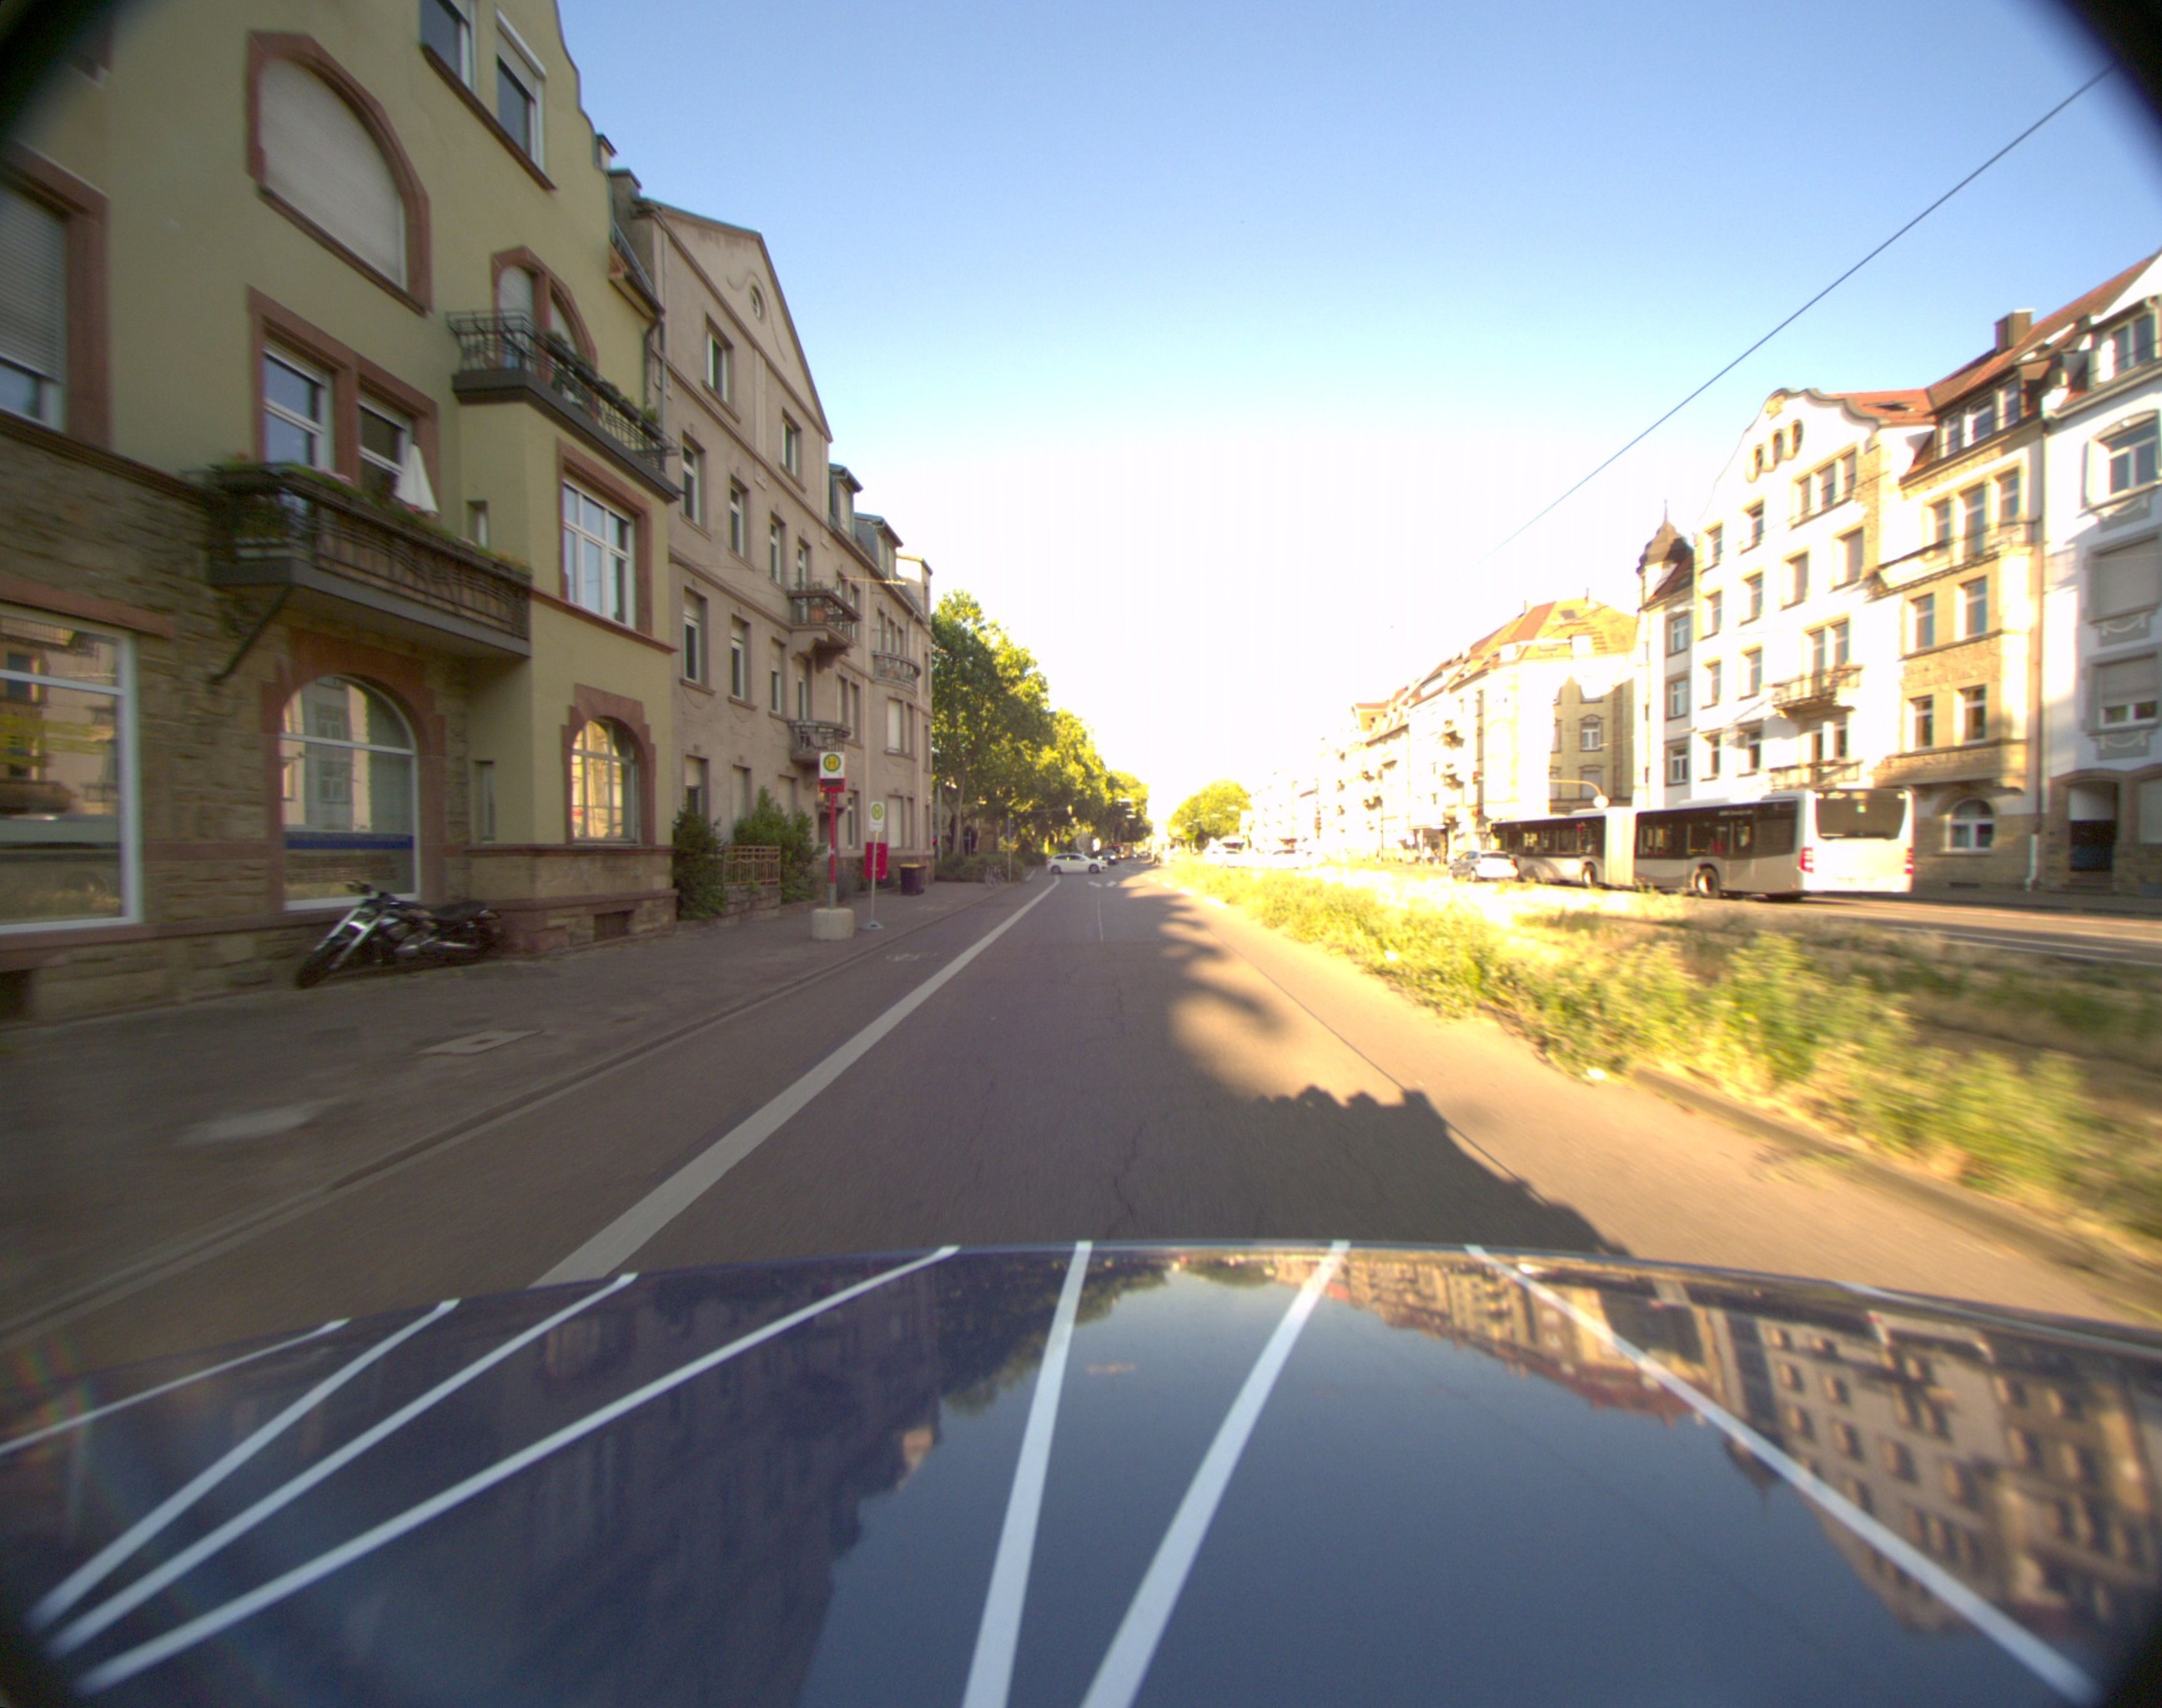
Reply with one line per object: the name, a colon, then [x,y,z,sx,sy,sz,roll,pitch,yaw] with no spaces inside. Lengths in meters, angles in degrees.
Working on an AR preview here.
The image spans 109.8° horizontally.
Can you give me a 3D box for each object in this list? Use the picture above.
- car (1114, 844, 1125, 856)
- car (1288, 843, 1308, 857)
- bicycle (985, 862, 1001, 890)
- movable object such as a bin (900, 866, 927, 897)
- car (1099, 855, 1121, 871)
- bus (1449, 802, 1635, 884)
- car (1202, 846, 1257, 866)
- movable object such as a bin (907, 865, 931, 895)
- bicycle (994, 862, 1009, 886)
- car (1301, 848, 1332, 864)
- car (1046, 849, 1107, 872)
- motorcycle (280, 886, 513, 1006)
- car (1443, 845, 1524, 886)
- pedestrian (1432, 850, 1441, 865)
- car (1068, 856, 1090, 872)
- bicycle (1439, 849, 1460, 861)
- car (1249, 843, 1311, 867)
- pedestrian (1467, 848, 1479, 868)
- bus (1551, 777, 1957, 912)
car: [7.200,-0.774,141.277,1.877,2.279,4.001,0,1,5]
car: [30.496,-0.524,106.877,1.918,1.889,4.310,0,1,6]
bicycle: [-3.732,0.910,32.239,0.438,1.092,1.932,0,0,0]
movable object such as a bin: [-5.836,0.936,26.525,0.656,1.040,0.660,0,2,17]
car: [3.174,0.950,82.022,1.877,1.587,4.002,0,1,8]
bus: [21.175,-0.556,35.905,3.272,3.355,9.899,0,1,4]
car: [11.687,0.161,59.614,4.118,1.442,1.839,-1,2,-34]
movable object such as a bin: [-5.796,0.916,27.219,0.570,1.040,0.660,0,2,17]
bicycle: [-3.684,0.904,35.315,0.370,1.062,1.874,0,0,4]
car: [21.857,0.138,70.379,1.732,1.471,3.822,1,1,34]
car: [-0.281,0.445,53.711,4.050,1.517,1.783,0,2,10]
motorcycle: [-8.353,1.053,9.485,0.591,1.131,2.504,0,1,1]
car: [18.062,0.482,34.295,1.934,1.674,4.001,0,1,7]
pedestrian: [32.471,0.298,69.370,0.553,1.354,0.555,-1,1,4]
car: [-0.189,1.080,82.083,1.877,1.587,4.002,0,1,8]
bicycle: [32.496,0.095,67.022,0.667,1.050,2.503,-1,1,1]
car: [14.315,0.076,54.807,3.996,1.696,1.836,0,2,2]
pedestrian: [32.284,0.334,62.522,0.630,1.631,0.770,0,1,3]
bus: [20.464,-0.369,24.951,3.262,3.355,11.977,0,1,4]
